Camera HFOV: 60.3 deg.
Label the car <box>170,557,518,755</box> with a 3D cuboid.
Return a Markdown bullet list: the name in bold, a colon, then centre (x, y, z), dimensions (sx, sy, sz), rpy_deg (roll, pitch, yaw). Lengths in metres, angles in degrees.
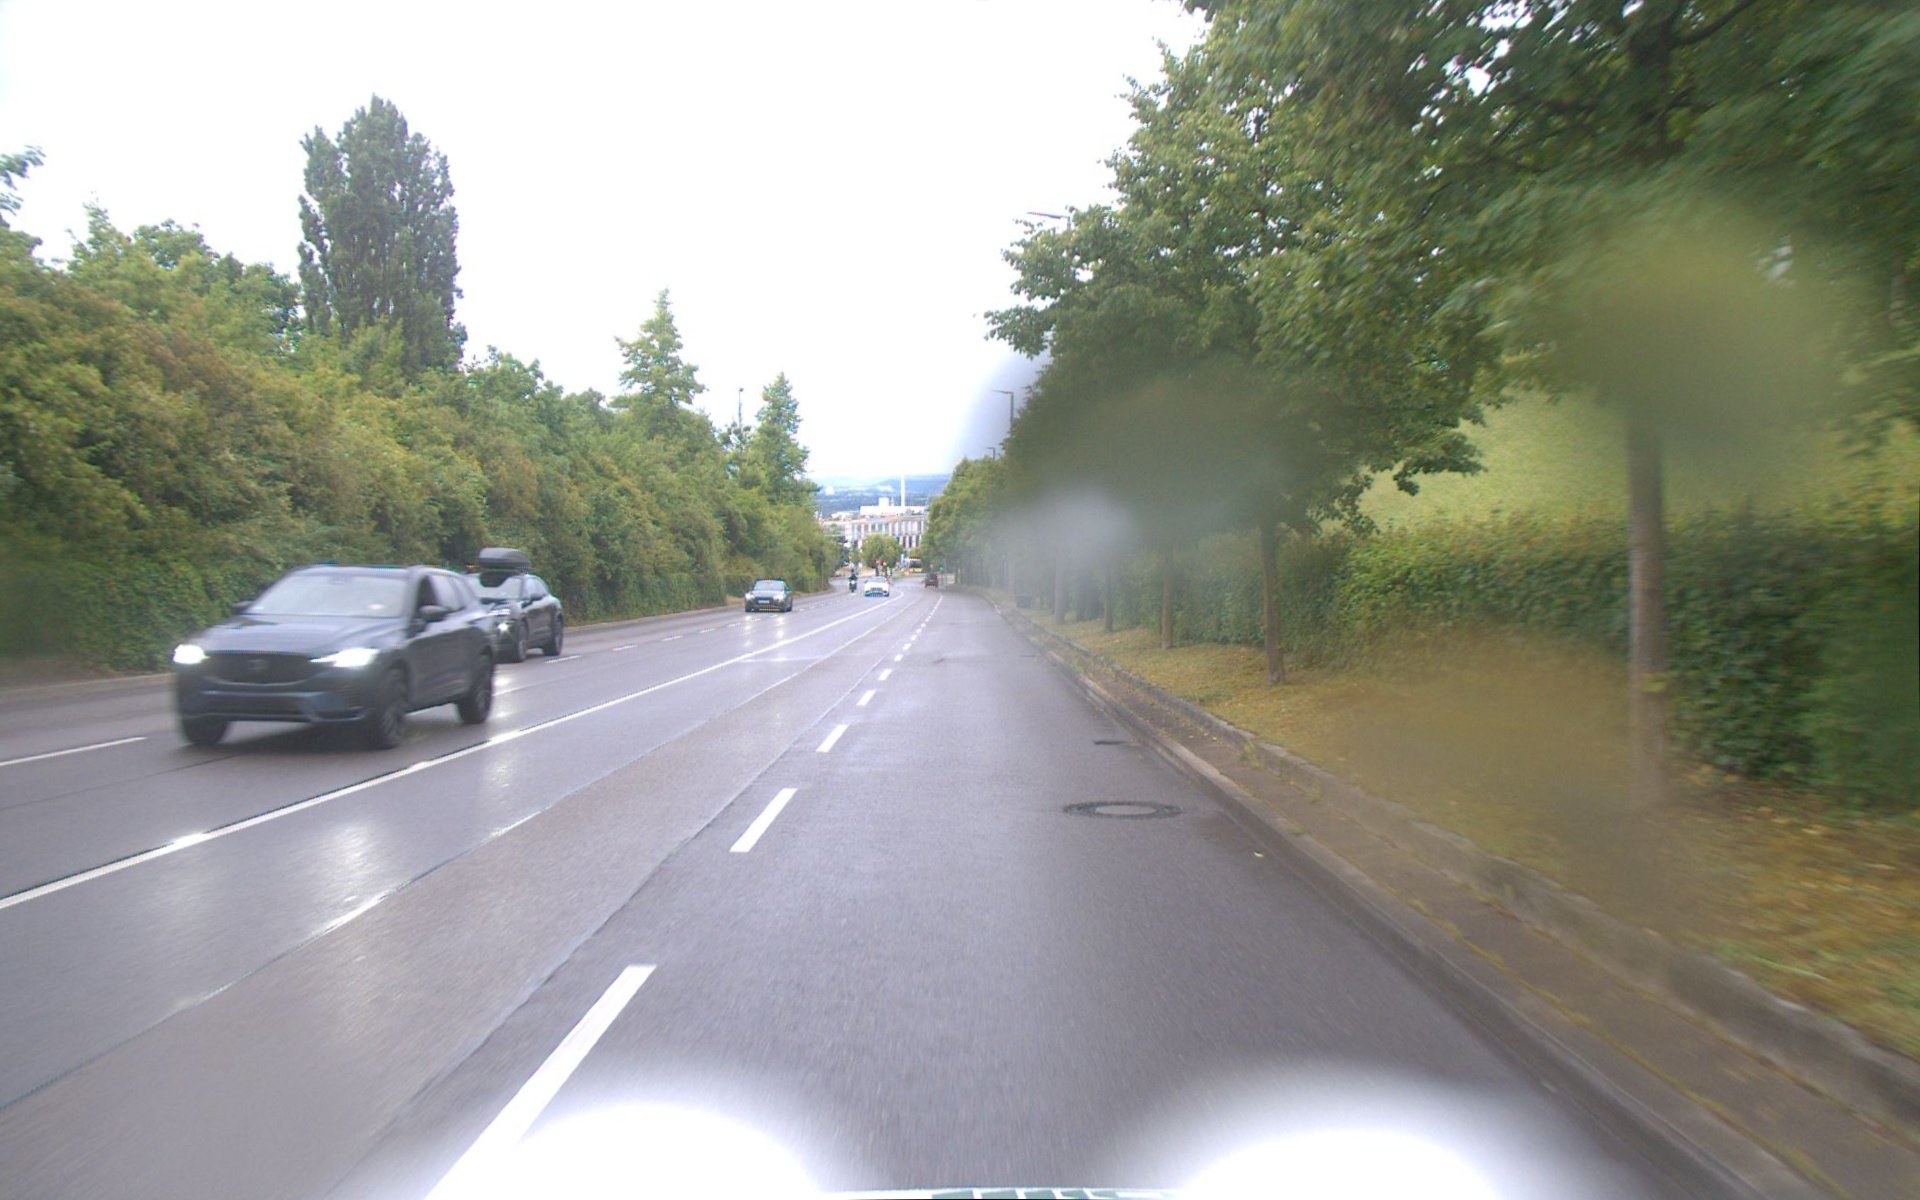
- **car**: centre (-5.933, 0.474, 16.571), dimensions (1.775, 1.686, 4.595), rpy_deg (1, 0, -1)

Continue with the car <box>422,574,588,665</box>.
- **car**: centre (-8.688, 0.346, 31.998), dimensions (1.860, 1.580, 4.630), rpy_deg (2, 0, 0)

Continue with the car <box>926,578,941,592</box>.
- **car**: centre (-3.417, -1.910, 212.109), dimensions (1.812, 1.731, 3.791), rpy_deg (2, -1, -1)

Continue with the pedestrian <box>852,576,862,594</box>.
- **pedestrian**: centre (-9.230, -1.319, 147.850), dimensions (0.789, 1.568, 1.111), rpy_deg (1, 0, 0)

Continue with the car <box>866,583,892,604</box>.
- **car**: centre (-6.241, -0.518, 127.752), dimensions (1.680, 1.531, 4.517), rpy_deg (2, 1, 0)

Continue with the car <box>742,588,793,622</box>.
- **car**: centre (-8.687, 0.208, 74.964), dimensions (1.723, 1.405, 4.838), rpy_deg (2, 1, 0)
